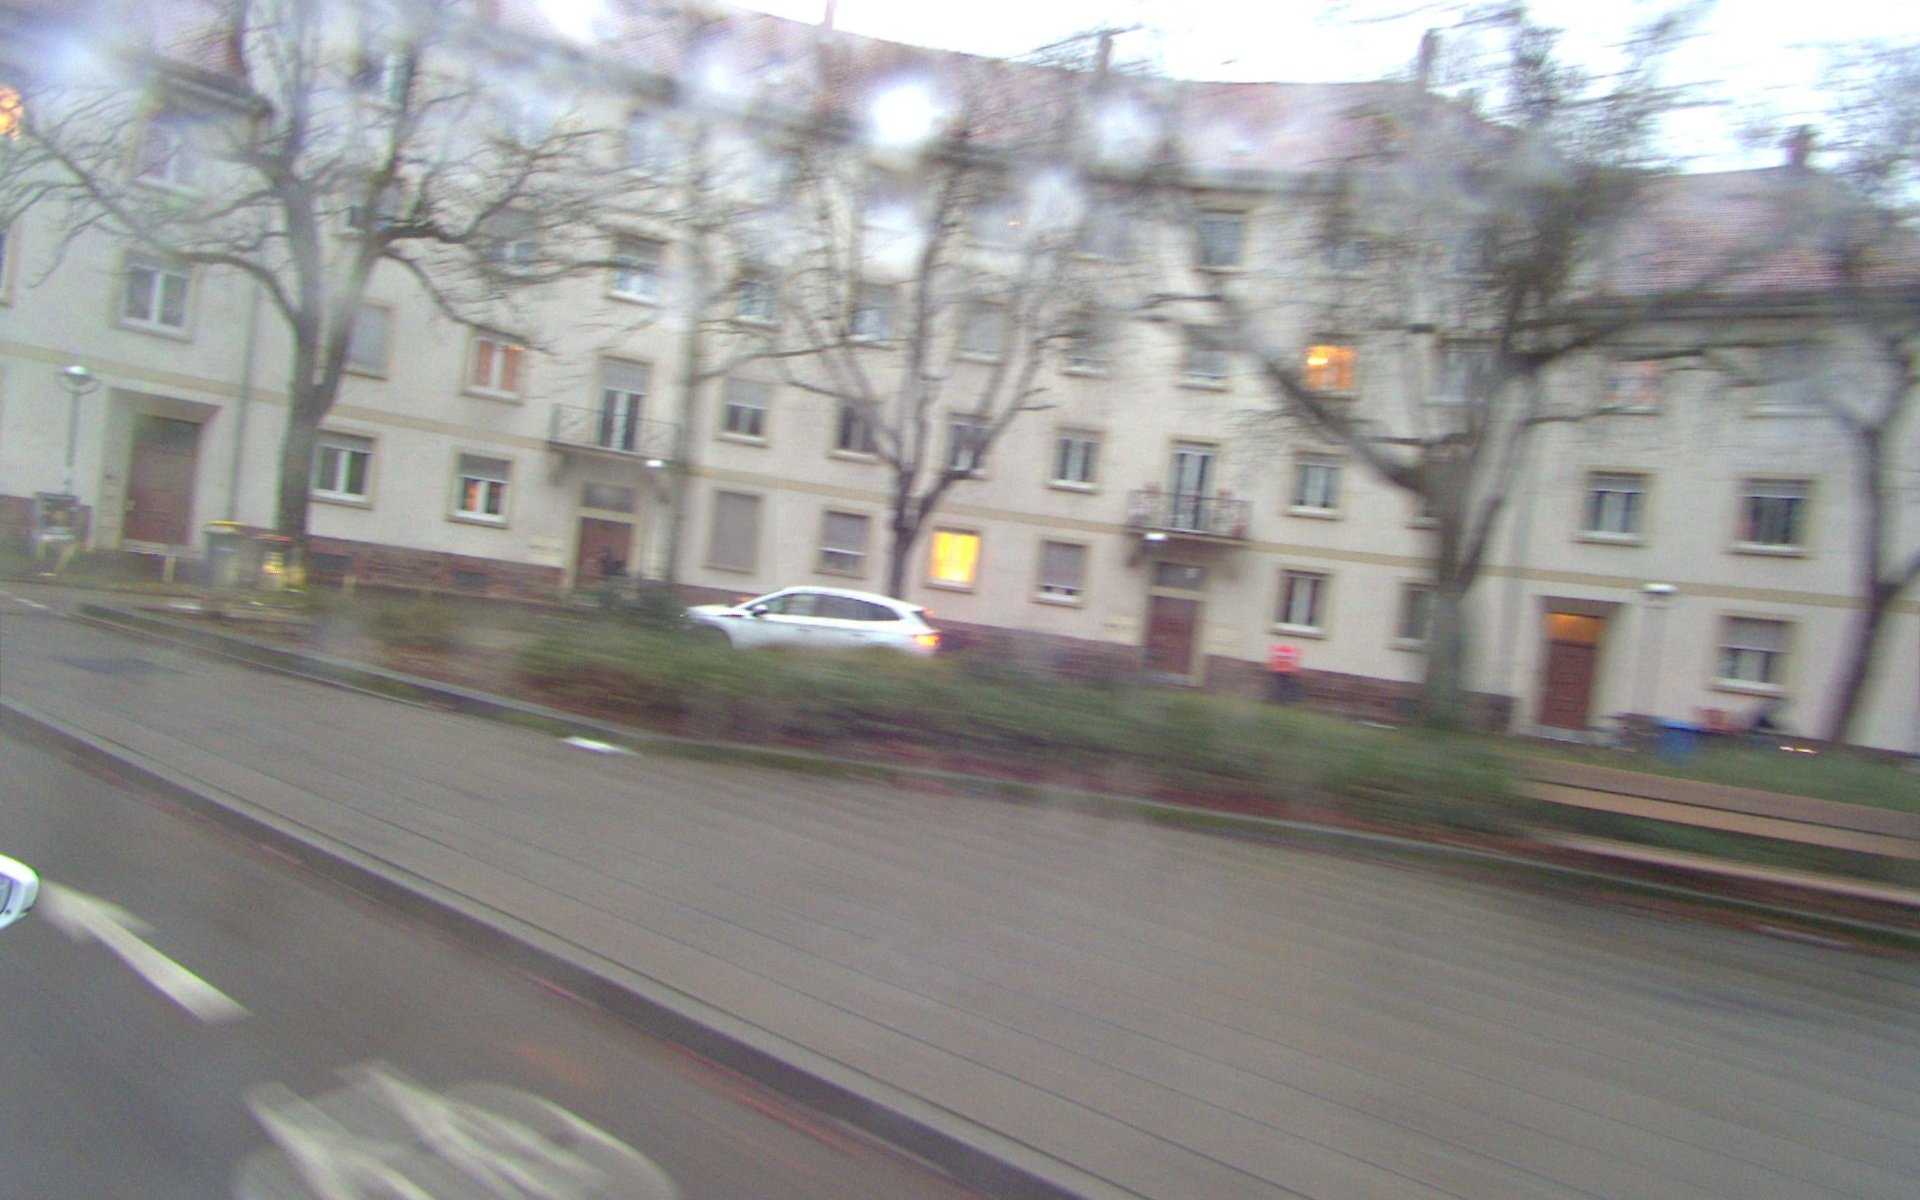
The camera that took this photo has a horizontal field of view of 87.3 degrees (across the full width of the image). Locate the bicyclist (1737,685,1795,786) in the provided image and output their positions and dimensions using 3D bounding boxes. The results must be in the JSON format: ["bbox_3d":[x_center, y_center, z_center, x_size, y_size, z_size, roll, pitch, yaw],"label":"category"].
[{"bbox_3d":[16.270,2.719,20.323,0.668,1.910,0.467,8,1,32],"label":"bicyclist"}]

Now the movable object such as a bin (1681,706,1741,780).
[{"bbox_3d":[14.039,2.659,18.820,0.639,1.243,0.528,7,1,19],"label":"movable object such as a bin"}]

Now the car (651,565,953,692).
[{"bbox_3d":[-2.556,0.489,17.052,4.667,1.528,1.899,6,-1,-3],"label":"car"}]

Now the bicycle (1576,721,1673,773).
[{"bbox_3d":[13.685,3.015,20.755,1.562,0.775,0.339,7,1,29],"label":"bicycle"}]

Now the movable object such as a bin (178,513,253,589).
[{"bbox_3d":[-13.976,-0.903,18.908,0.842,1.265,0.520,9,-2,-16],"label":"movable object such as a bin"}]

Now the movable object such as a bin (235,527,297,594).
[{"bbox_3d":[-13.209,-0.745,19.157,0.691,1.132,0.537,9,-2,-16],"label":"movable object such as a bin"}]

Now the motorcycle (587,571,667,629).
[{"bbox_3d":[-7.729,0.000,23.375,1.575,1.120,0.568,8,3,-5],"label":"motorcycle"}]

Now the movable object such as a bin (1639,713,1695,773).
[{"bbox_3d":[13.401,2.701,19.082,0.639,0.993,0.528,7,1,19],"label":"movable object such as a bin"}]

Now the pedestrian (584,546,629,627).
[{"bbox_3d":[-7.798,-0.302,22.213,0.704,1.681,0.685,7,1,-15],"label":"pedestrian"}]

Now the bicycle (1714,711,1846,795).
[{"bbox_3d":[16.425,3.046,20.215,1.882,1.307,0.467,7,1,32],"label":"bicycle"}]
